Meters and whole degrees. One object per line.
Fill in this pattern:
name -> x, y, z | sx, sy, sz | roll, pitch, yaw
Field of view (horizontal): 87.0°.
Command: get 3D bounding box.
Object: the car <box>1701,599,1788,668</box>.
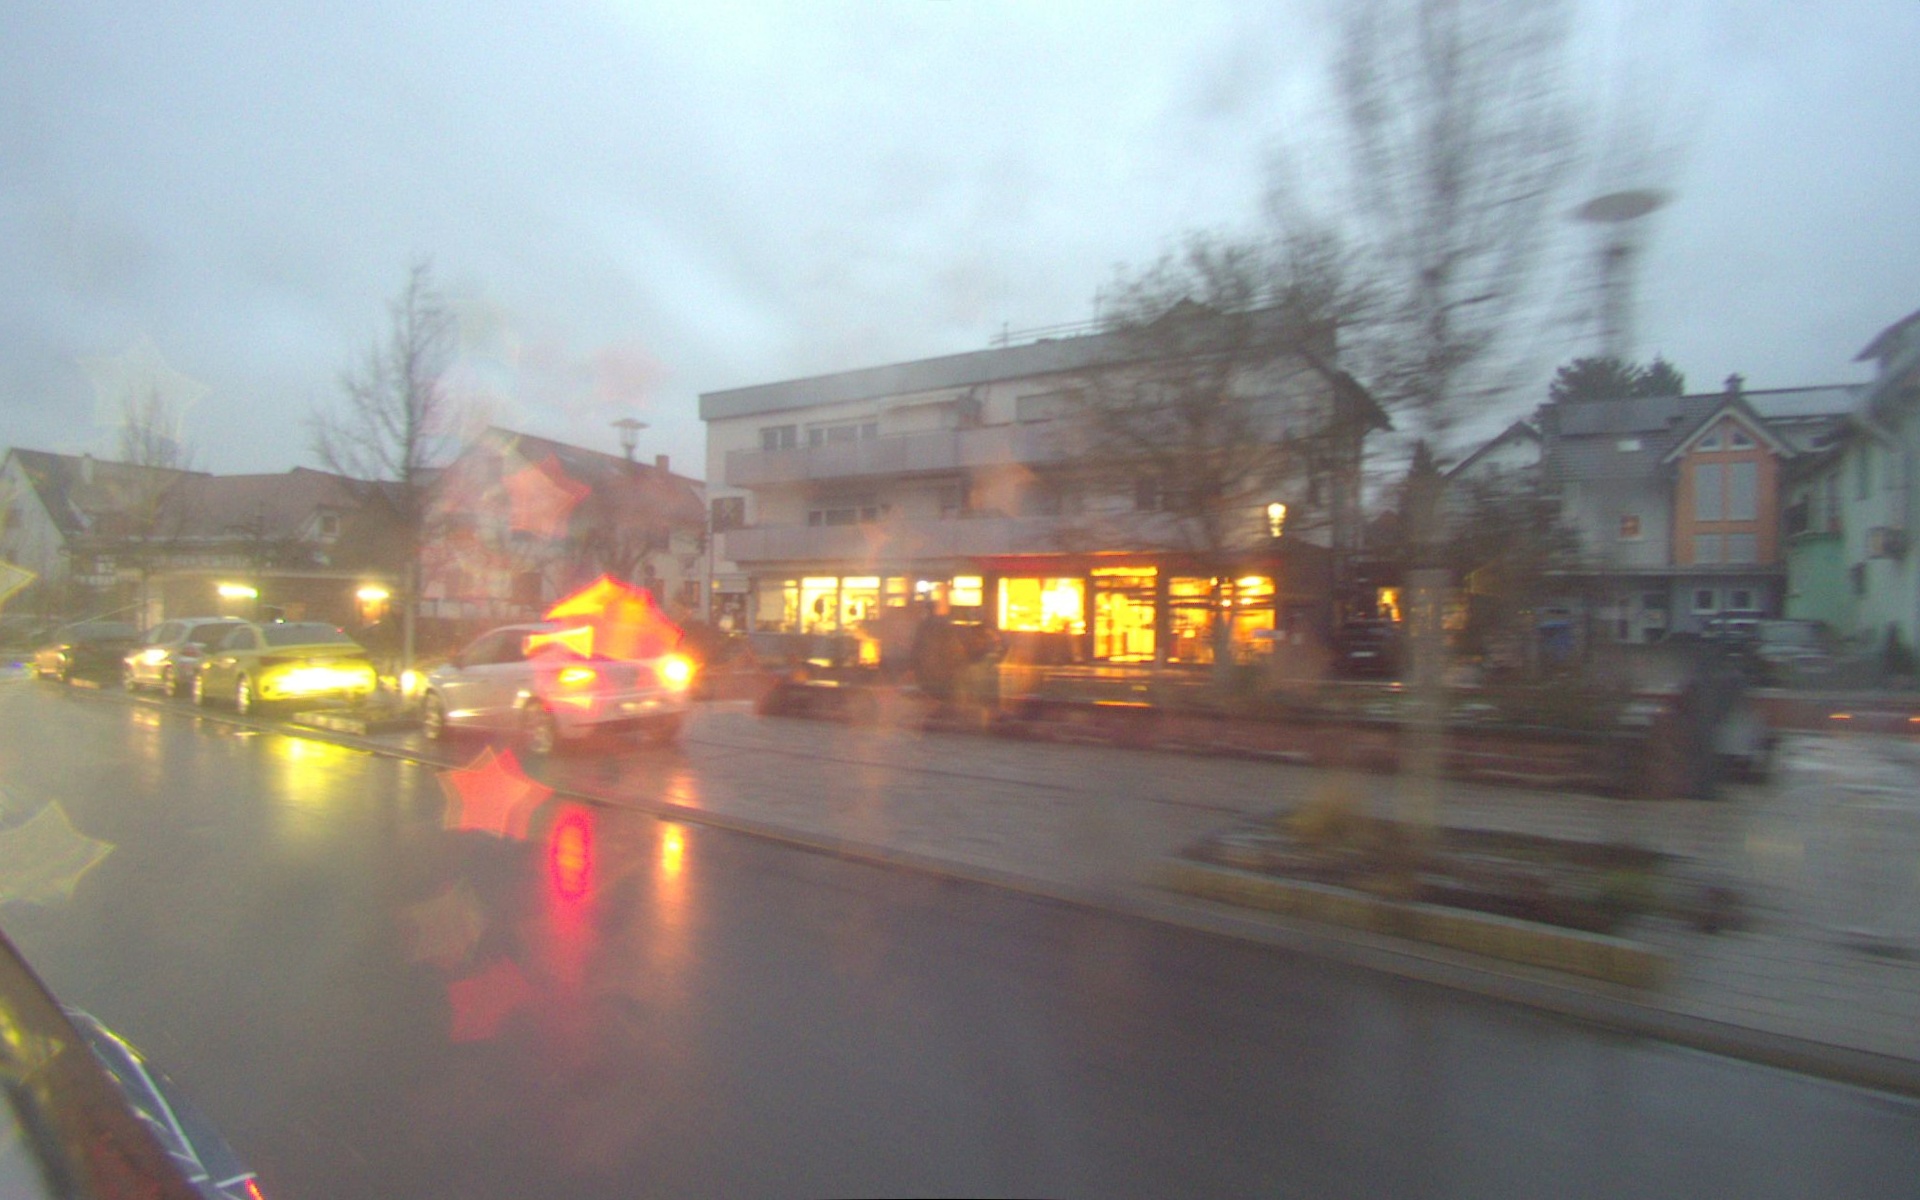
car -> 22.412, 0.917, 29.023 | 1.563, 1.871, 3.277 | -1, -1, 31

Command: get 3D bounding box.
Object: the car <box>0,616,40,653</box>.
car -> -42.282, 1.516, 43.528 | 3.938, 1.559, 2.003 | -1, 0, -41

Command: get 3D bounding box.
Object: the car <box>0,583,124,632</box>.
car -> -33.963, 0.300, 37.933 | 3.934, 1.776, 1.437 | 1, -1, -37

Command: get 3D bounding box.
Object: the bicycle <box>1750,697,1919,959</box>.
bicycle -> 4.415, 0.943, 4.171 | 1.735, 1.070, 0.322 | -2, -7, 25

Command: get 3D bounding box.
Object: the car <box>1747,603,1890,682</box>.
car -> 19.291, 0.918, 22.930 | 1.979, 1.615, 3.954 | -1, -1, 34

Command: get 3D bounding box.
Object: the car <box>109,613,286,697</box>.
car -> -15.607, 1.054, 20.685 | 3.663, 1.546, 1.859 | -1, 0, 35

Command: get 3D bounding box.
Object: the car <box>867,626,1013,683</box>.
car -> -0.620, 1.600, 30.511 | 3.987, 1.576, 1.978 | -1, -2, 32

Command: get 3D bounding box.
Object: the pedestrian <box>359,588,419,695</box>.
pedestrian -> -11.222, 0.799, 19.895 | 0.889, 2.029, 0.792 | 1, -2, -41

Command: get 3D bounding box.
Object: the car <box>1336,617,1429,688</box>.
car -> 12.079, 1.442, 28.782 | 1.992, 1.858, 3.960 | -1, -2, 29

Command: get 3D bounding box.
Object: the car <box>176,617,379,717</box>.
car -> -11.595, 1.049, 17.083 | 4.373, 1.442, 1.677 | -1, 0, 40

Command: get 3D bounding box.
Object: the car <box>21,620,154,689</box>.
car -> -21.711, 1.283, 25.149 | 4.135, 1.546, 1.817 | -1, 0, 39

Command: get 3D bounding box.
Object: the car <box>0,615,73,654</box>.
car -> -39.781, 1.437, 42.451 | 3.787, 1.557, 2.002 | -1, 0, -43

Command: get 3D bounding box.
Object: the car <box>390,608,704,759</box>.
car -> -5.103, 0.862, 12.252 | 4.178, 1.500, 1.766 | -1, 0, 40
